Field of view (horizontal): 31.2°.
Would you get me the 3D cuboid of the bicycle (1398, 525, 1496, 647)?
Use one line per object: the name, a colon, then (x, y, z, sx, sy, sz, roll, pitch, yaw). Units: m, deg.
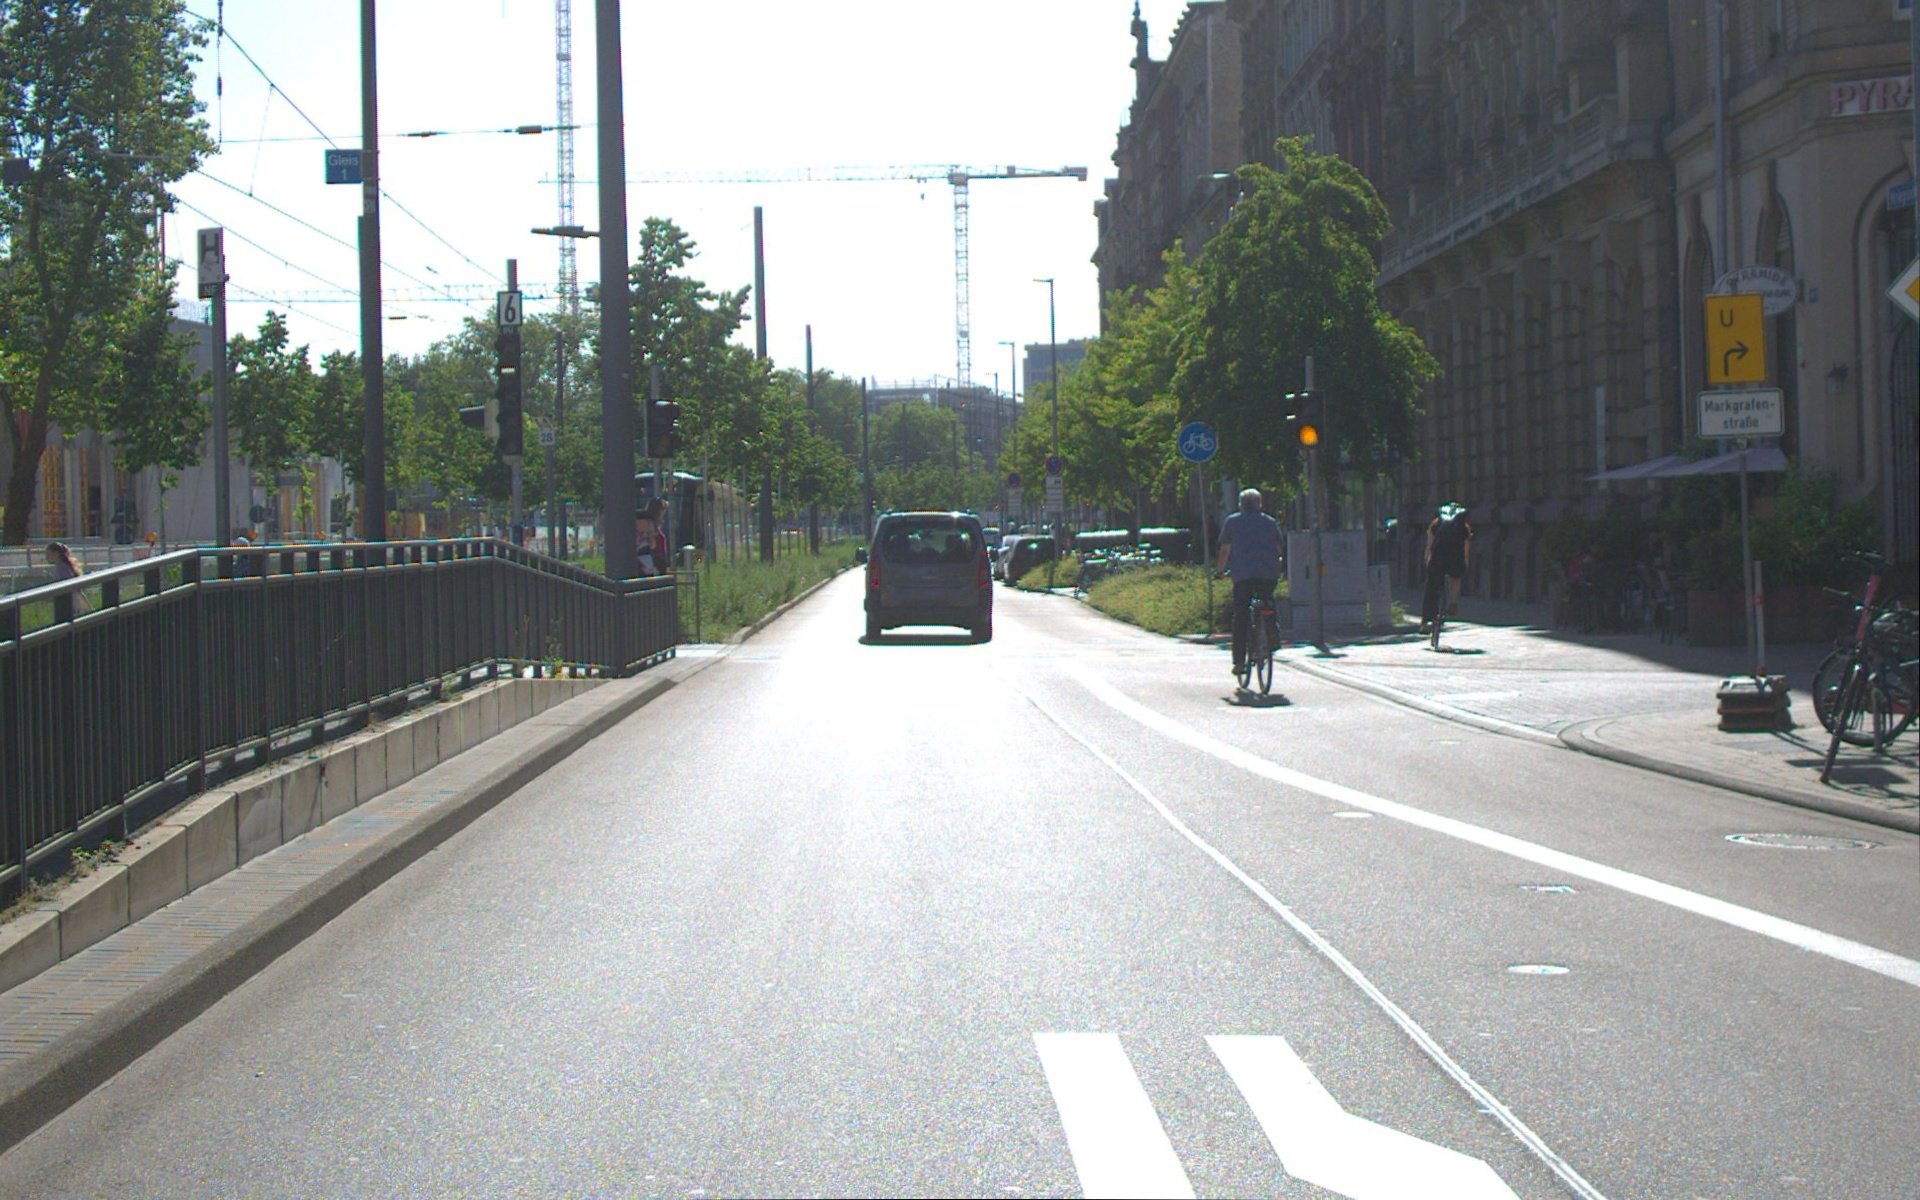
bicycle: (5.643, -0.177, 39.962, 0.615, 1.326, 1.900, -5, 1, -4)

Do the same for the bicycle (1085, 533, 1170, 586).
bicycle: (3.771, -0.914, 77.356, 1.792, 1.027, 0.527, -5, 1, -1)

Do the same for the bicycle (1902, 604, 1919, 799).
bicycle: (5.926, 0.505, 18.311, 1.600, 1.042, 0.607, -4, 1, 3)

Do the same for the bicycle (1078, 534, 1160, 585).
bicycle: (3.720, -0.945, 80.450, 1.792, 1.027, 0.527, -5, 1, -1)

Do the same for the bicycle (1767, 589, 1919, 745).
bicycle: (6.069, 0.416, 22.012, 1.670, 0.940, 0.607, -2, 2, 6)

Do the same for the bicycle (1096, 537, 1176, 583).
bicycle: (4.035, -0.919, 79.013, 1.792, 1.027, 0.527, 0, 1, -1)

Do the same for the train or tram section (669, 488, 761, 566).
train or tram section: (-8.934, -2.612, 126.274, 2.756, 2.733, 9.864, 0, 1, -1)

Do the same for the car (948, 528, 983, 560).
car: (0.305, -3.250, 201.242, 1.993, 1.831, 4.000, 0, 1, -1)

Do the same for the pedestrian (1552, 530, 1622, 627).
pedestrian: (7.911, -0.277, 43.411, 0.706, 1.174, 0.635, -3, 1, -1)

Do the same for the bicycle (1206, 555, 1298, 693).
bicycle: (2.607, 0.195, 30.838, 0.601, 1.177, 1.869, 1, 1, -2)

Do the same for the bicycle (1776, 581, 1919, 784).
bicycle: (5.671, 0.441, 19.862, 1.723, 1.097, 0.607, -4, 1, 3)

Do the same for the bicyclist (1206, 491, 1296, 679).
bicyclist: (2.618, -0.144, 31.017, 0.684, 1.667, 0.922, 1, 1, -2)

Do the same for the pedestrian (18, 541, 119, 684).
pedestrian: (-9.669, 0.123, 37.310, 0.865, 1.531, 0.909, 0, 1, -1)

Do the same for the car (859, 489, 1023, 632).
car: (-0.309, -0.588, 49.554, 2.200, 1.919, 4.654, -1, 1, -1)

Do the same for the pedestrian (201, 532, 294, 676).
pedestrian: (-7.642, 0.033, 36.908, 0.812, 1.531, 0.798, 0, 1, 1)

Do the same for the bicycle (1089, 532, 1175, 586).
bicycle: (3.803, -0.900, 75.983, 1.792, 1.027, 0.527, -5, 1, -1)

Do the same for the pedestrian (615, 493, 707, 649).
pedestrian: (-3.720, -0.362, 42.714, 1.075, 1.902, 0.653, -1, 1, -7)

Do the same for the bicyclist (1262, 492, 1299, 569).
bicyclist: (6.939, -1.510, 74.435, 0.666, 1.633, 0.960, -1, 1, -1)

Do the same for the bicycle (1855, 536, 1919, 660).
bicycle: (9.914, -0.036, 34.271, 1.817, 1.167, 0.654, -1, 5, 3)

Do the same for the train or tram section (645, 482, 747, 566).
train or tram section: (-8.868, -2.514, 116.406, 2.756, 2.733, 9.864, 0, 1, -1)

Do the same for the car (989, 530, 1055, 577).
car: (2.063, -1.582, 116.066, 2.028, 1.493, 4.530, -1, 1, -1)

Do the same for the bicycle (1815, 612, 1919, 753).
bicycle: (6.222, 0.490, 21.349, 1.670, 0.818, 0.607, -2, 2, 6)

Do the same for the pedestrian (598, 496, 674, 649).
pedestrian: (-3.838, -0.333, 40.674, 0.865, 1.782, 0.971, 0, 1, -7)

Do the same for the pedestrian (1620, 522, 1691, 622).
pedestrian: (8.786, -0.358, 43.428, 0.706, 1.232, 0.635, -3, 1, -1)

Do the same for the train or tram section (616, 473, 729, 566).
train or tram section: (-8.825, -2.417, 106.558, 2.756, 2.733, 9.864, 0, 1, -1)

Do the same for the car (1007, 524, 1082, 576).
car: (2.517, -1.513, 103.785, 2.028, 1.493, 4.654, -1, 1, -1)

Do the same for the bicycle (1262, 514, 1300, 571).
bicycle: (6.953, -1.258, 74.537, 0.583, 1.218, 1.900, -1, 1, -1)

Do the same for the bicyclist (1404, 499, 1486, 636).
bicyclist: (5.629, -0.382, 39.935, 0.660, 1.525, 0.801, -5, 1, -4)

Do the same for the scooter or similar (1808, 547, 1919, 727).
scooter or similar: (6.388, 0.242, 23.422, 1.111, 1.185, 0.419, -2, 2, 6)
